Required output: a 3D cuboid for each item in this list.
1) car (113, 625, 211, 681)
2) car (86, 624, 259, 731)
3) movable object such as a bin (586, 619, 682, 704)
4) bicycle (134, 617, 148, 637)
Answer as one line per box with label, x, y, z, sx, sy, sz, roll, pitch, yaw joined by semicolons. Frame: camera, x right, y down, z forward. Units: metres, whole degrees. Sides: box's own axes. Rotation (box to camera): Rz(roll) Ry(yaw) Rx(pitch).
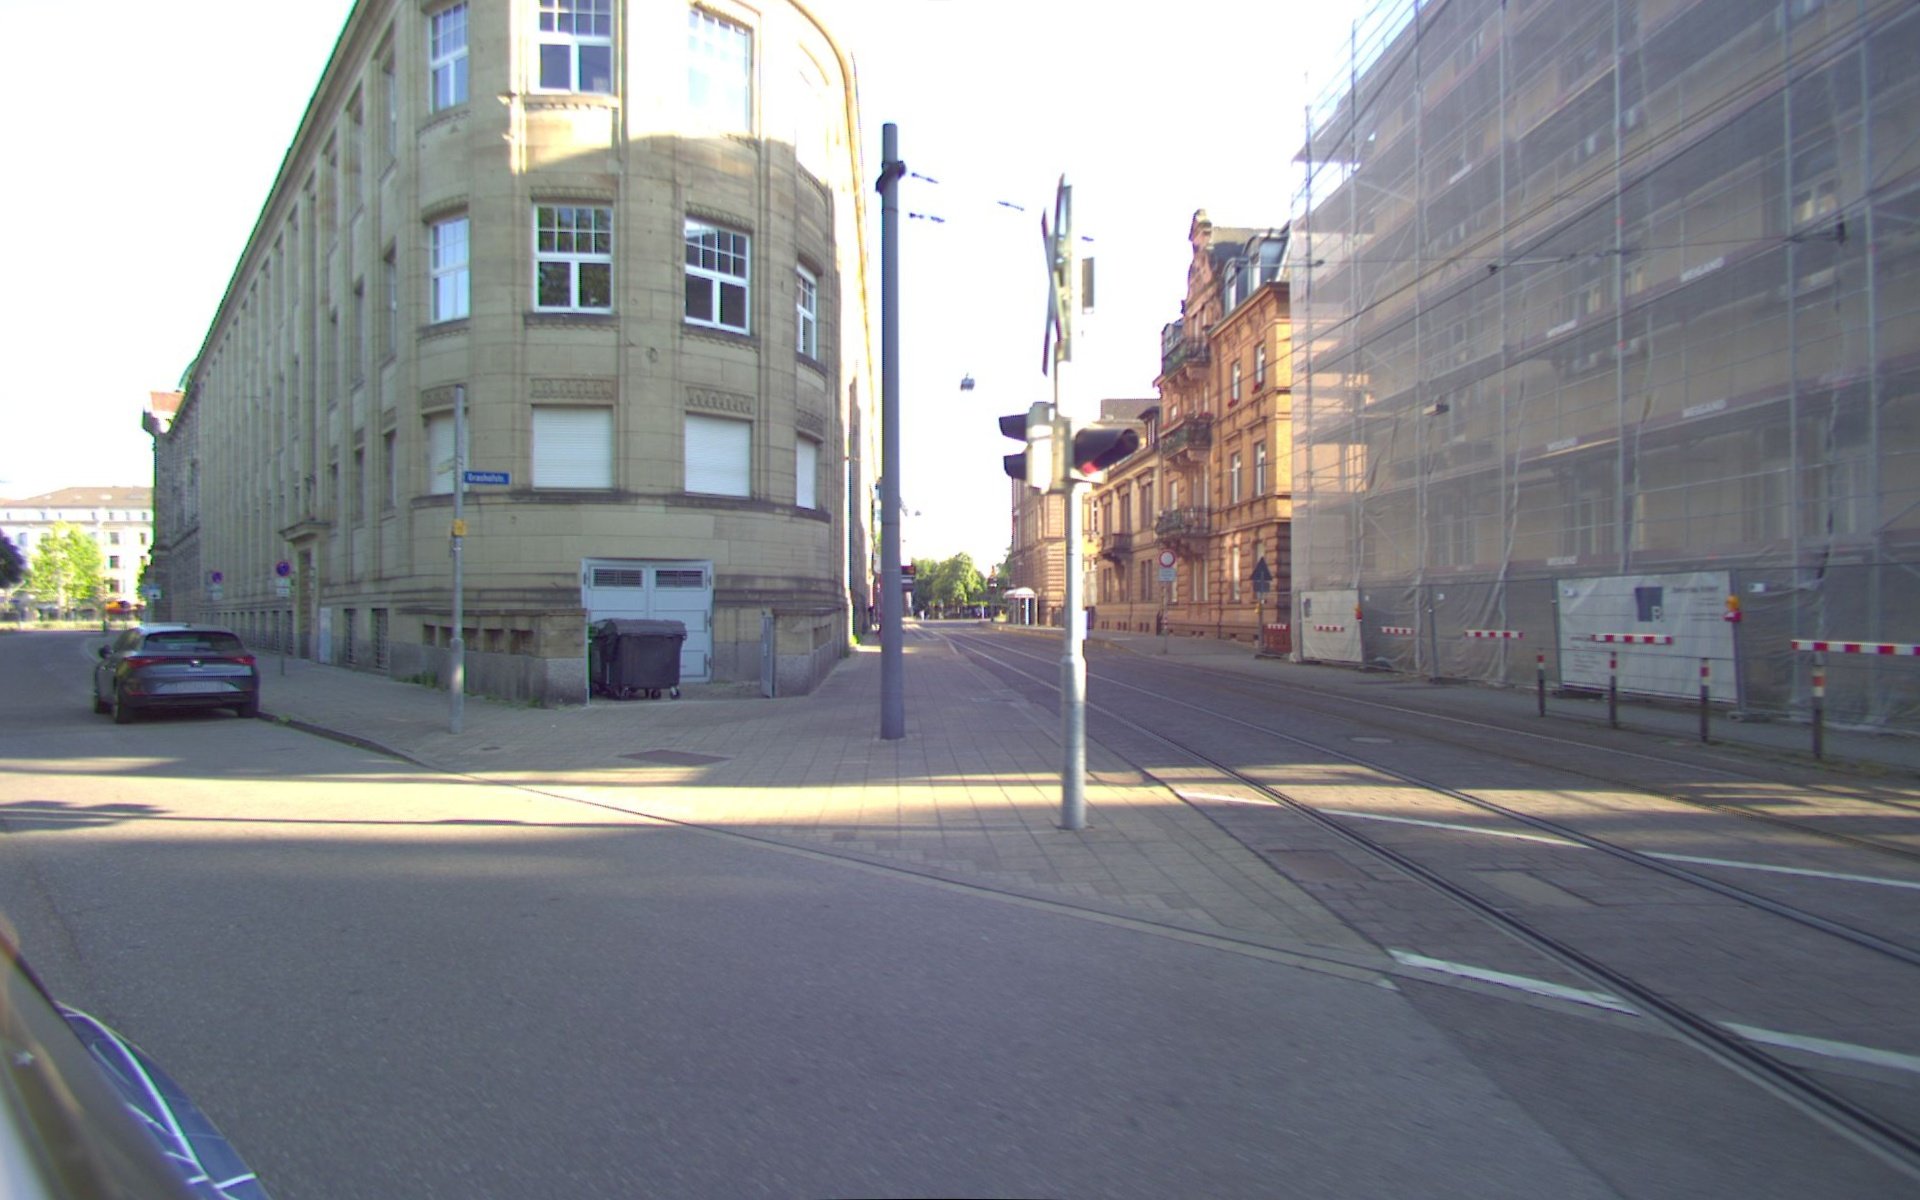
car;-23.495;1.502;29.720;4.563;1.445;1.724;-1;0;45
car;-12.646;1.122;16.152;1.723;1.459;4.211;1;-1;-44
movable object such as a bin;-5.978;1.077;18.506;1.167;1.439;1.926;0;-1;-35
bicycle;-51.270;1.667;63.348;0.450;1.218;1.883;1;-1;-33
